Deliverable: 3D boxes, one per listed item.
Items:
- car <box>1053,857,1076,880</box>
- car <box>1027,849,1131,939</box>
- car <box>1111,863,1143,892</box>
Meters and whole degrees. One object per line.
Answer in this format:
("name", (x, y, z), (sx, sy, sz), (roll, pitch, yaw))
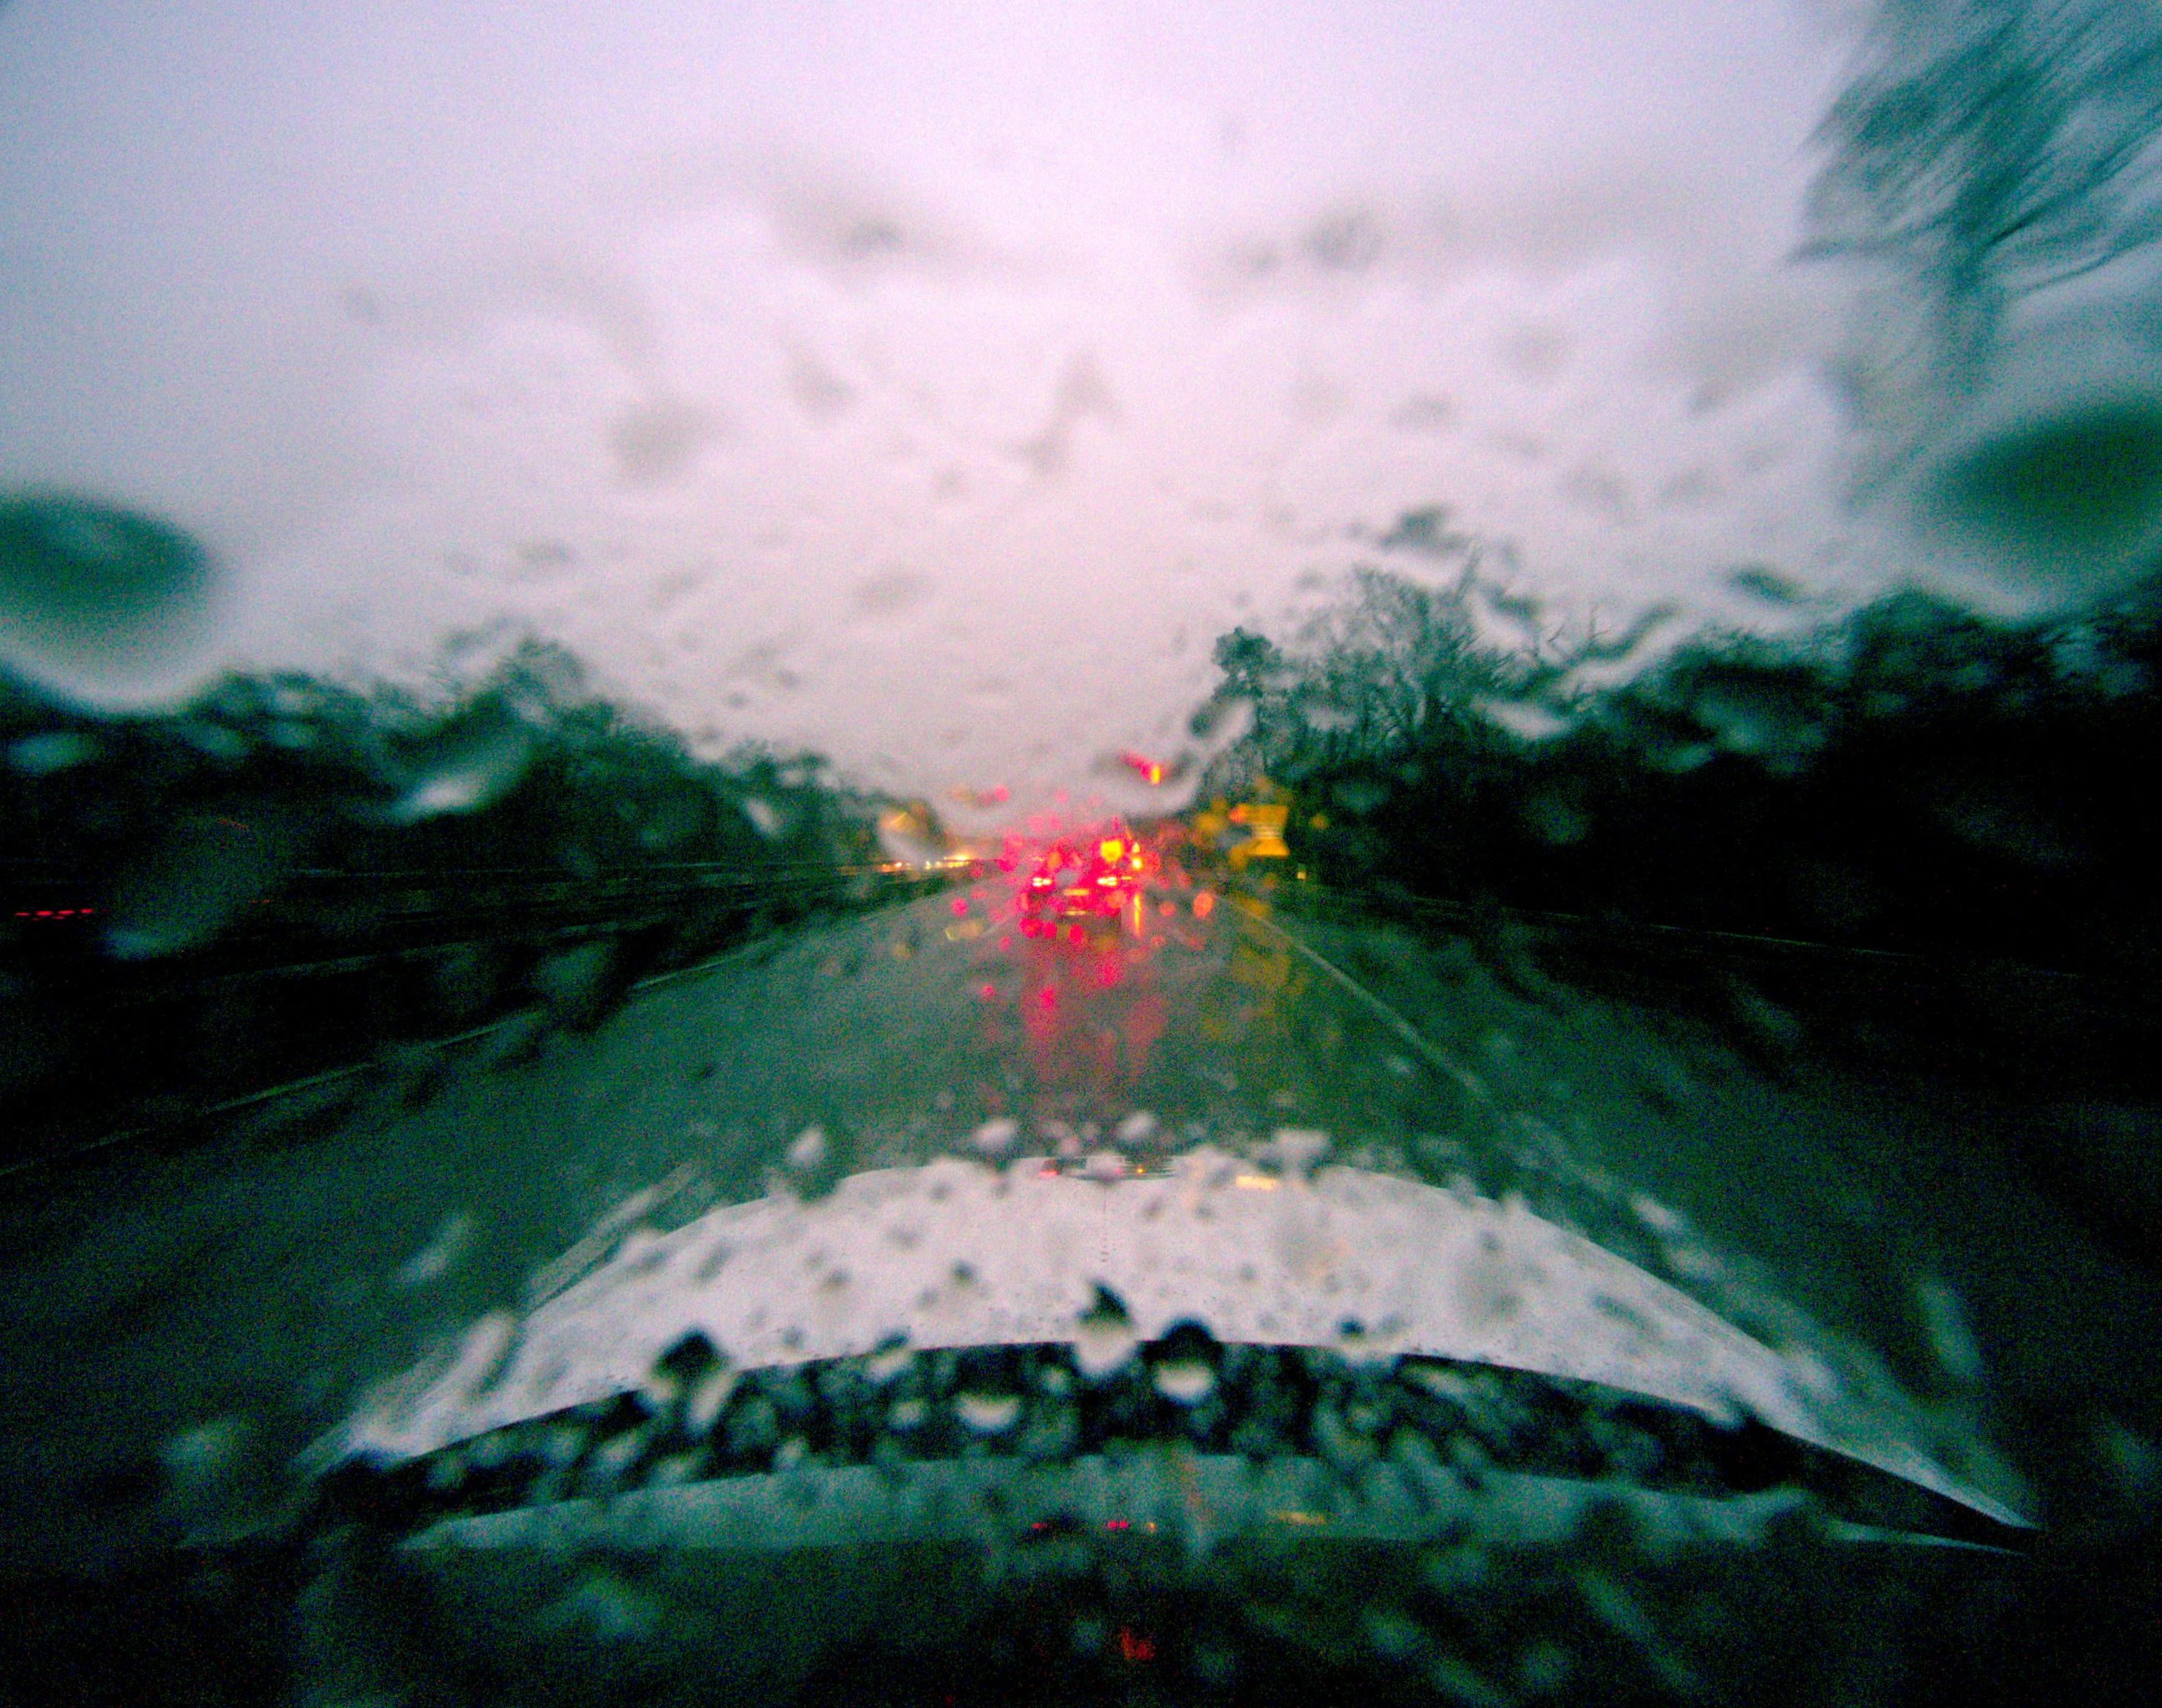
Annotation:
("car", (-1.485, 1.321, 74.169), (1.987, 2.014, 4.000), (-1, 0, 0))
("car", (-0.045, 0.777, 17.560), (1.986, 1.715, 3.829), (-1, 0, 0))
("car", (2.362, 1.166, 42.212), (1.563, 1.408, 3.648), (-1, 0, 2))
